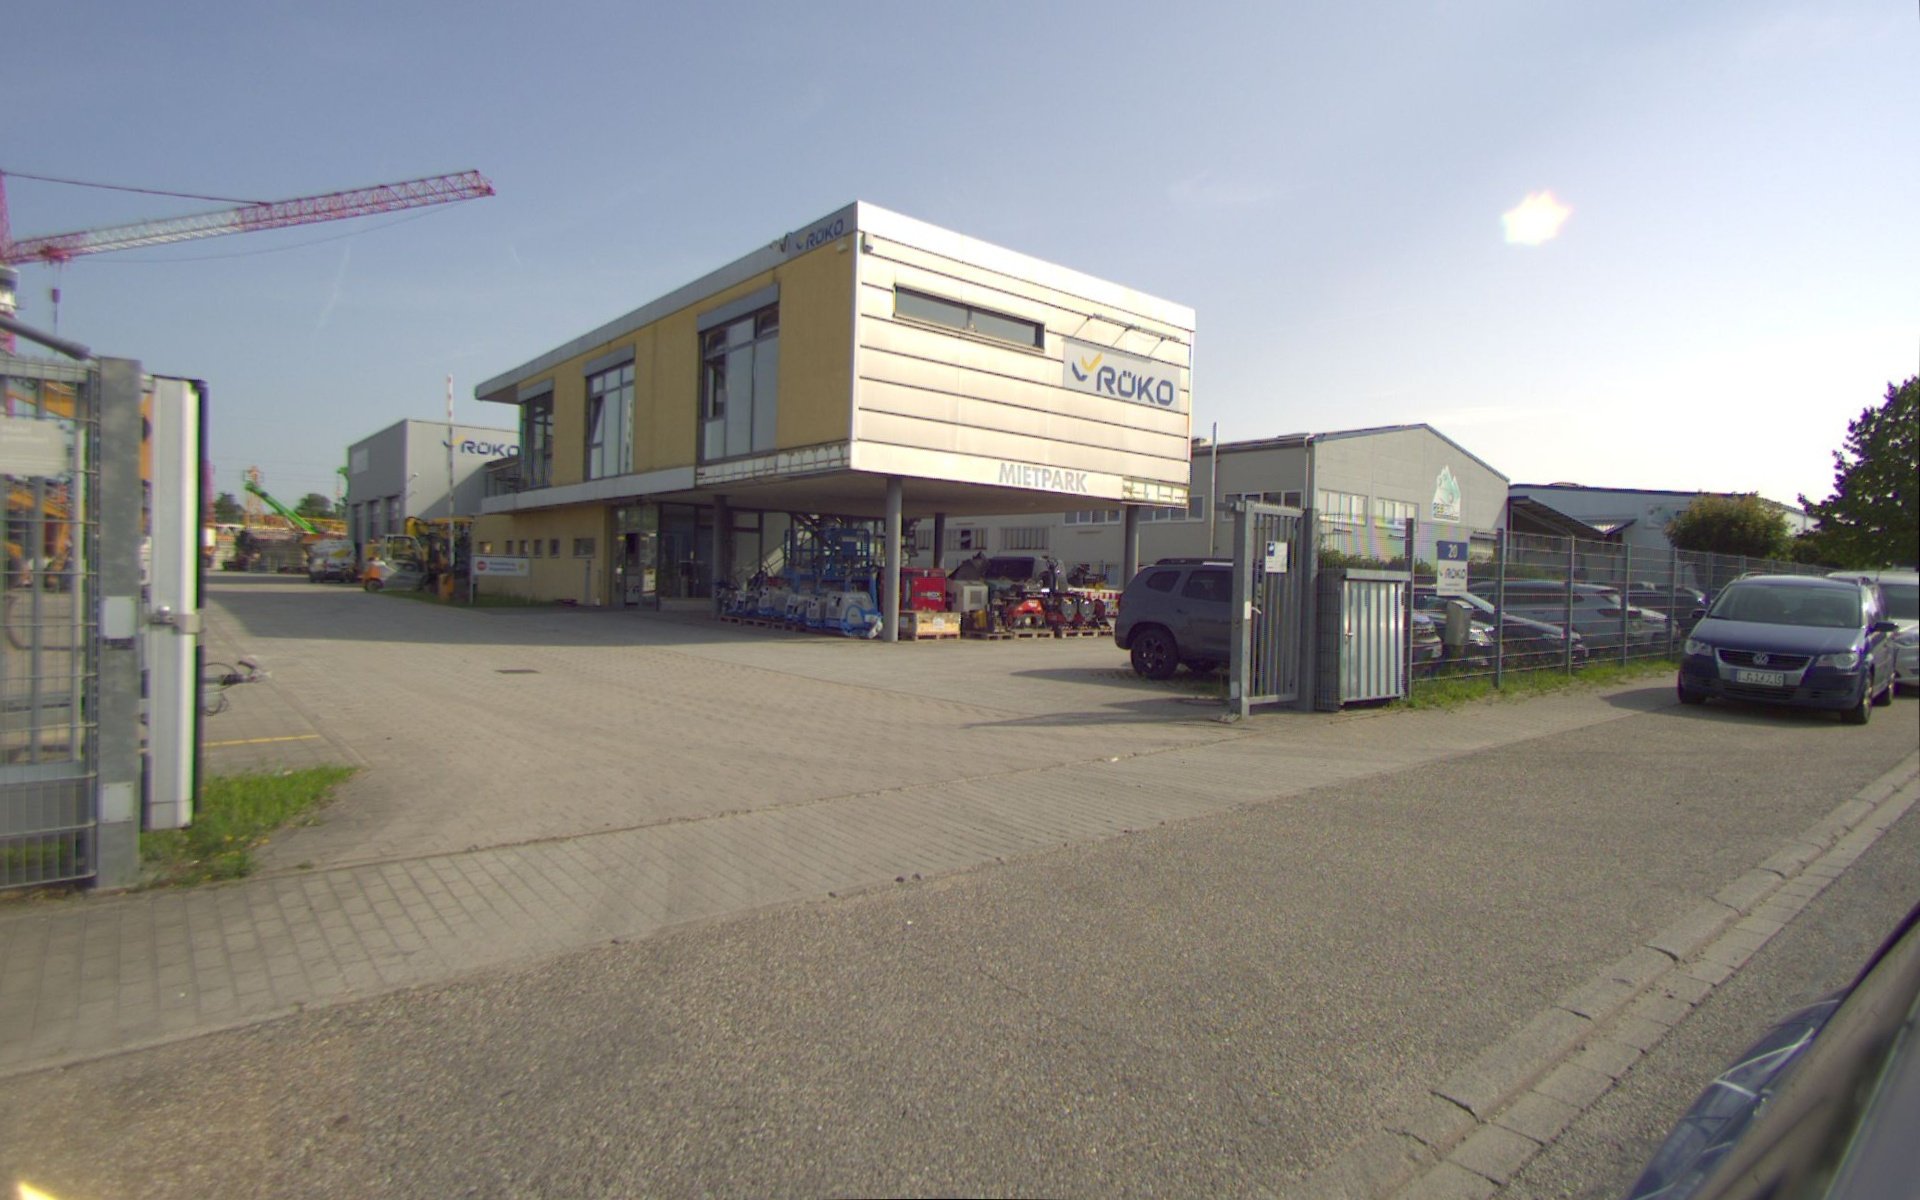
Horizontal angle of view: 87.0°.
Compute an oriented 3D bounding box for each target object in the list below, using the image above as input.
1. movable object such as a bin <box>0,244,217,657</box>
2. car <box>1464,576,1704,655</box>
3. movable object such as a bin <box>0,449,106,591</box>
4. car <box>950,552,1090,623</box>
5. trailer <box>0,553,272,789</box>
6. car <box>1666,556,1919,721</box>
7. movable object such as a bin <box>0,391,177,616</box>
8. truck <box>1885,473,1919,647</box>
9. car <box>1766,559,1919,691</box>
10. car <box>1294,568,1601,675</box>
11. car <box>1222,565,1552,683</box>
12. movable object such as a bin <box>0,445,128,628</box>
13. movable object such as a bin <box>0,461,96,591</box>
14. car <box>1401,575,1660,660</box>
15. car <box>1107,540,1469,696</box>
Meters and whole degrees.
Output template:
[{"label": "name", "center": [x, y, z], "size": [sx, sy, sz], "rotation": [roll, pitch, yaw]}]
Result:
[{"label": "movable object such as a bin", "center": [-13.729, -1.839, 12.045], "size": [7.540, 4.866, 3.322], "rotation": [1, 1, -42]}, {"label": "car", "center": [12.973, 0.277, 21.200], "size": [1.761, 1.496, 3.989], "rotation": [0, 0, -44]}, {"label": "movable object such as a bin", "center": [-28.541, -2.319, 29.093], "size": [5.925, 3.977, 2.720], "rotation": [0, 2, -44]}, {"label": "car", "center": [1.767, -0.410, 31.196], "size": [1.861, 2.027, 4.368], "rotation": [1, 1, -38]}, {"label": "trailer", "center": [-6.765, 0.383, 5.848], "size": [4.482, 1.327, 1.998], "rotation": [-1, 2, -39]}, {"label": "car", "center": [10.579, 0.361, 12.727], "size": [4.175, 1.741, 1.829], "rotation": [-1, 2, -41]}, {"label": "movable object such as a bin", "center": [-18.750, -1.784, 18.262], "size": [7.082, 3.978, 2.923], "rotation": [1, 2, -42]}, {"label": "truck", "center": [26.623, -0.824, 26.125], "size": [9.515, 4.064, 2.752], "rotation": [1, 3, -41]}, {"label": "car", "center": [14.520, 0.301, 15.878], "size": [4.517, 1.811, 1.998], "rotation": [-1, 2, -39]}, {"label": "car", "center": [8.028, 0.281, 16.947], "size": [1.867, 1.514, 4.230], "rotation": [1, 1, -43]}, {"label": "car", "center": [6.370, 0.278, 15.433], "size": [1.867, 1.514, 4.230], "rotation": [1, 1, -43]}, {"label": "movable object such as a bin", "center": [-16.549, -1.028, 15.119], "size": [6.239, 2.749, 2.705], "rotation": [1, 2, -42]}, {"label": "movable object such as a bin", "center": [-30.916, -2.333, 31.534], "size": [5.925, 3.977, 2.720], "rotation": [0, 2, -44]}, {"label": "car", "center": [10.870, 0.272, 19.476], "size": [1.761, 1.388, 3.991], "rotation": [0, 2, -44]}, {"label": "car", "center": [4.260, 0.140, 13.566], "size": [4.224, 1.759, 1.870], "rotation": [2, 1, 43]}]
